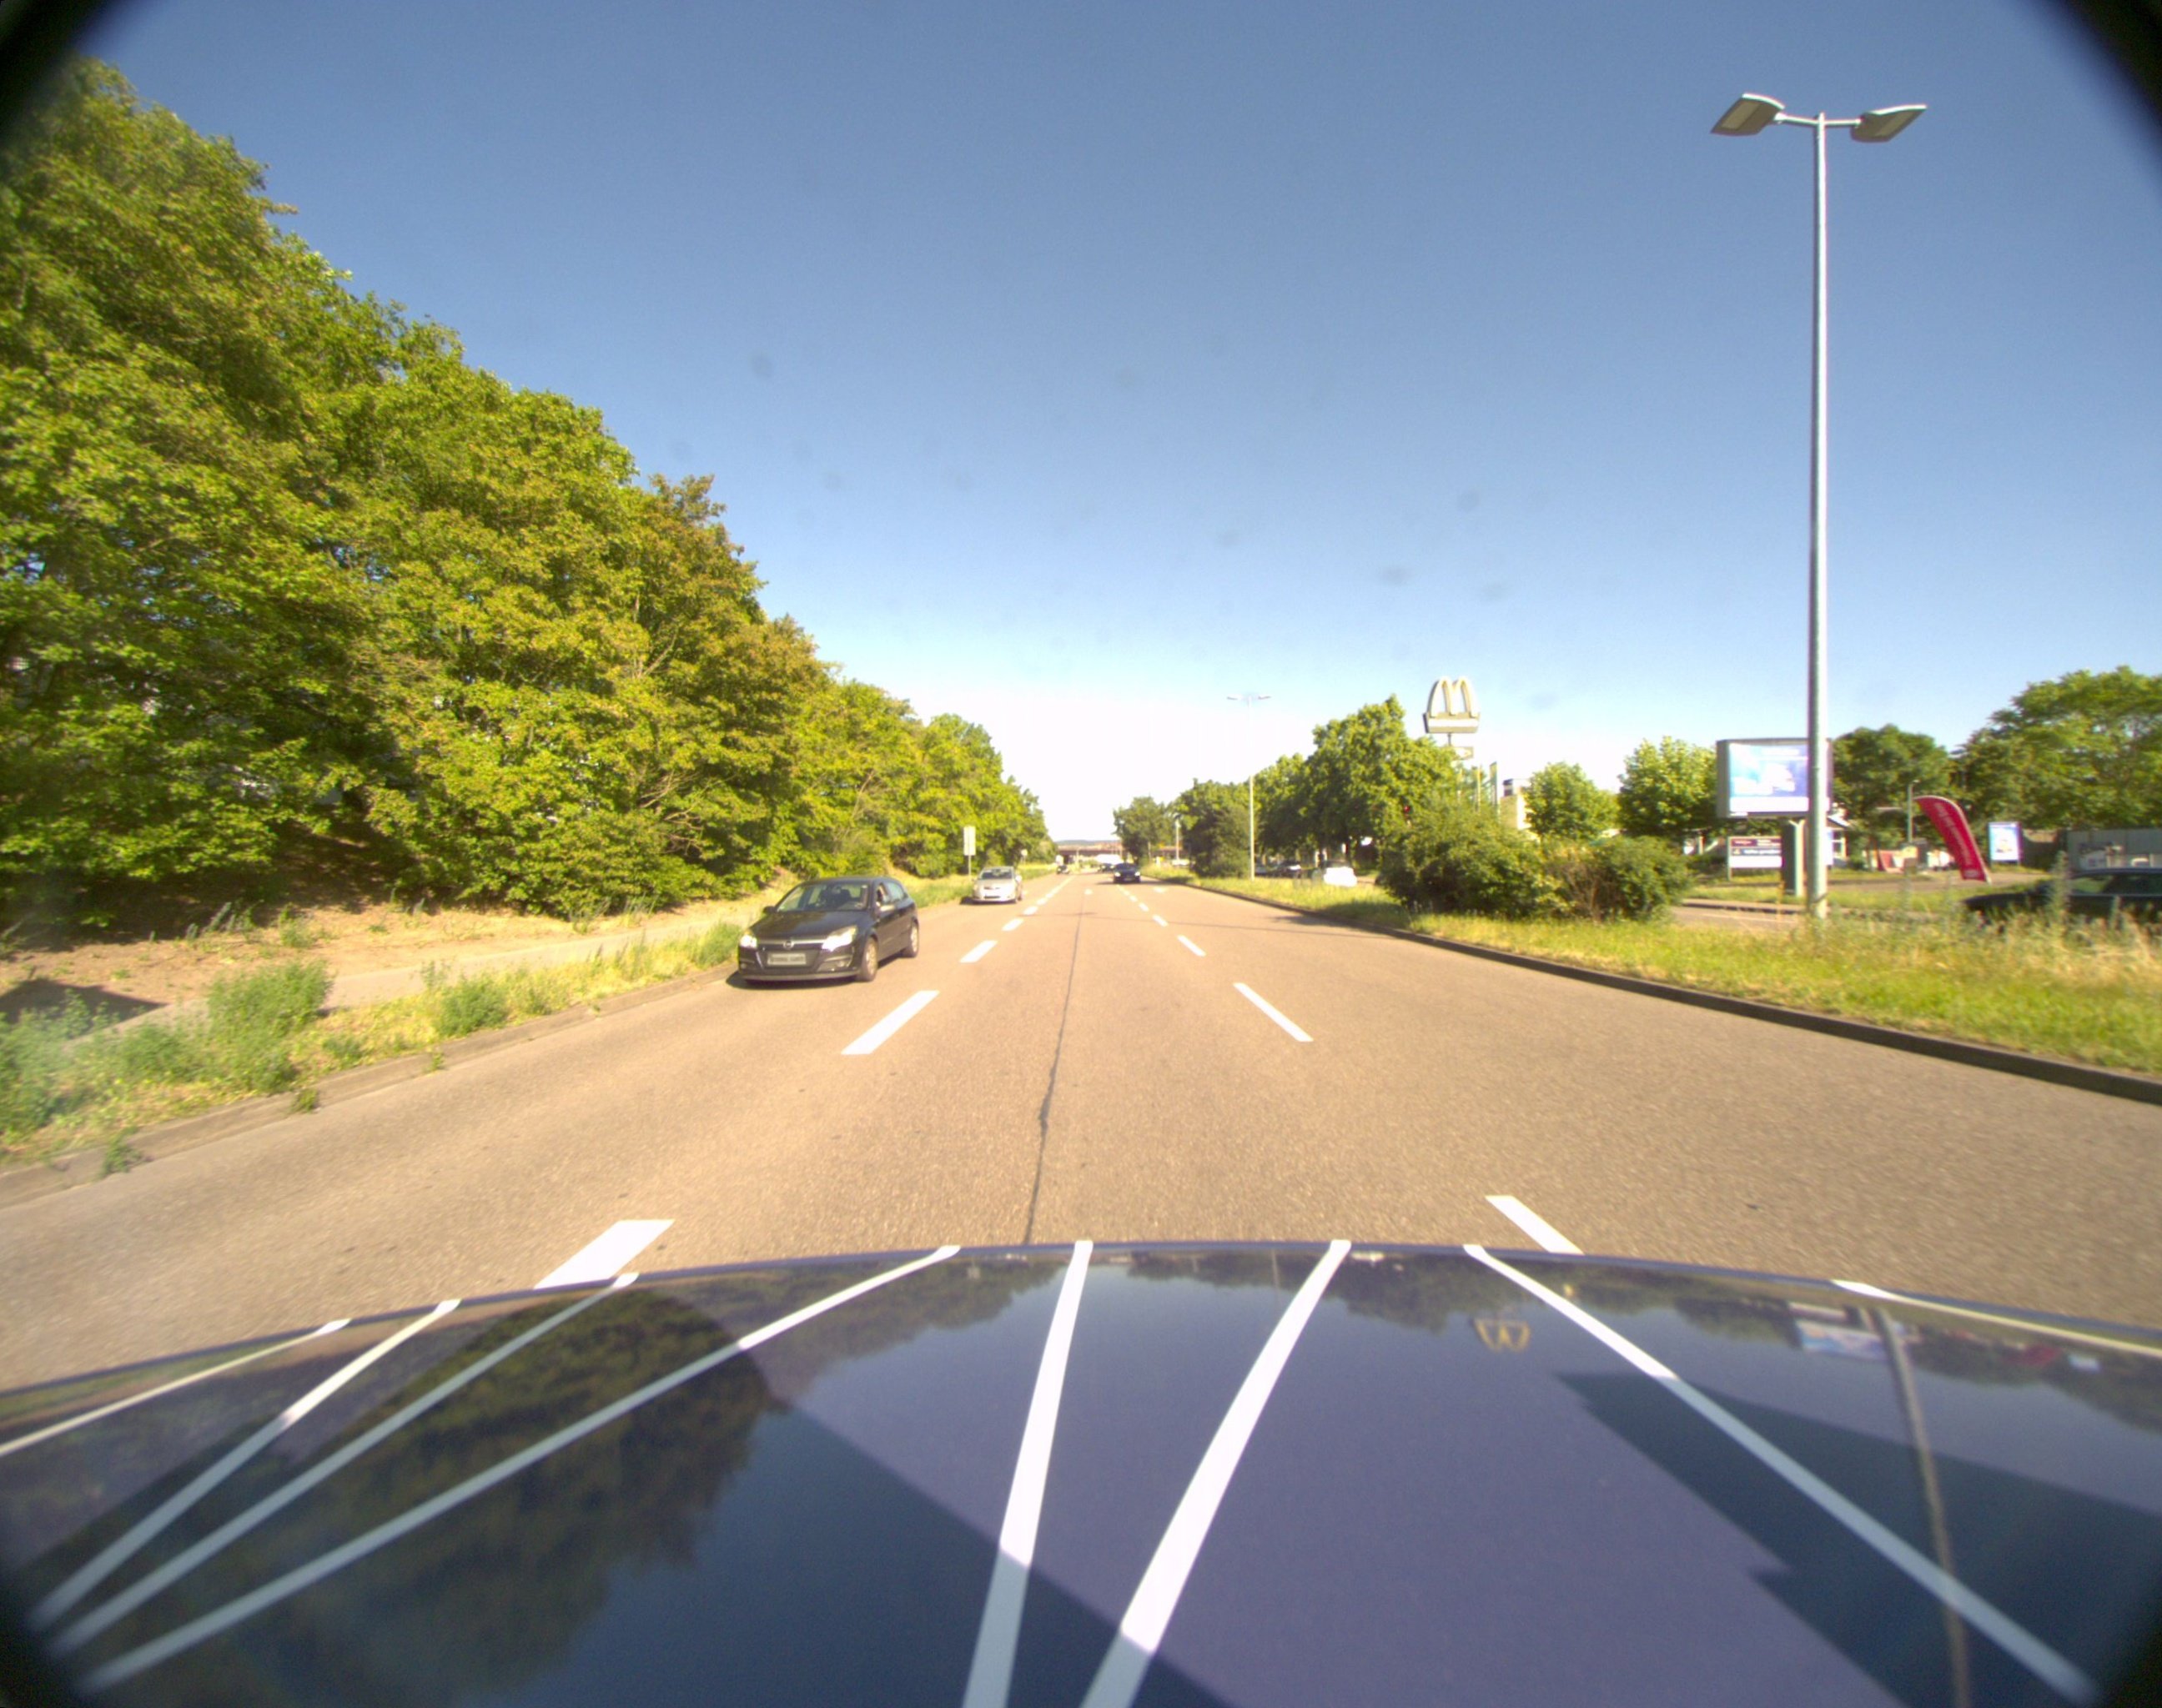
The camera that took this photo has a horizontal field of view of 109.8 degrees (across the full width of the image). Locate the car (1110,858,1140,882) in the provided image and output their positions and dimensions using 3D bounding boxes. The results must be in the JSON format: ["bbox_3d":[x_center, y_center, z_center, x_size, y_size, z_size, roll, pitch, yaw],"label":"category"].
[{"bbox_3d":[3.073,1.086,53.926,1.788,1.592,4.583,-1,0,0],"label":"car"}]

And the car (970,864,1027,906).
[{"bbox_3d":[-3.323,1.208,31.290,1.788,1.528,4.108,-2,0,1],"label":"car"}]

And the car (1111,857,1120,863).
[{"bbox_3d":[8.548,1.597,188.978,1.998,1.433,4.000,-1,0,2],"label":"car"}]

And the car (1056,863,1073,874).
[{"bbox_3d":[-2.754,2.351,125.100,2.038,1.601,4.095,-2,0,-10],"label":"car"}]

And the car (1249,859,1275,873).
[{"bbox_3d":[21.453,1.408,90.196,1.998,1.542,4.143,-2,1,1],"label":"car"}]

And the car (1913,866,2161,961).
[{"bbox_3d":[16.778,0.941,12.224,1.649,1.326,4.681,2,1,1],"label":"car"}]

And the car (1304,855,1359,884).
[{"bbox_3d":[12.791,0.768,39.012,1.572,1.346,3.706,-2,1,1],"label":"car"}]

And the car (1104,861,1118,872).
[{"bbox_3d":[4.807,2.040,122.695,2.025,1.601,4.099,-2,0,1],"label":"car"}]

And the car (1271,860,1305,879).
[{"bbox_3d":[19.906,1.431,73.130,1.998,1.619,4.771,-2,1,1],"label":"car"}]

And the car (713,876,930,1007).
[{"bbox_3d":[-3.663,1.156,11.652,1.738,1.433,4.371,-2,0,1],"label":"car"}]
